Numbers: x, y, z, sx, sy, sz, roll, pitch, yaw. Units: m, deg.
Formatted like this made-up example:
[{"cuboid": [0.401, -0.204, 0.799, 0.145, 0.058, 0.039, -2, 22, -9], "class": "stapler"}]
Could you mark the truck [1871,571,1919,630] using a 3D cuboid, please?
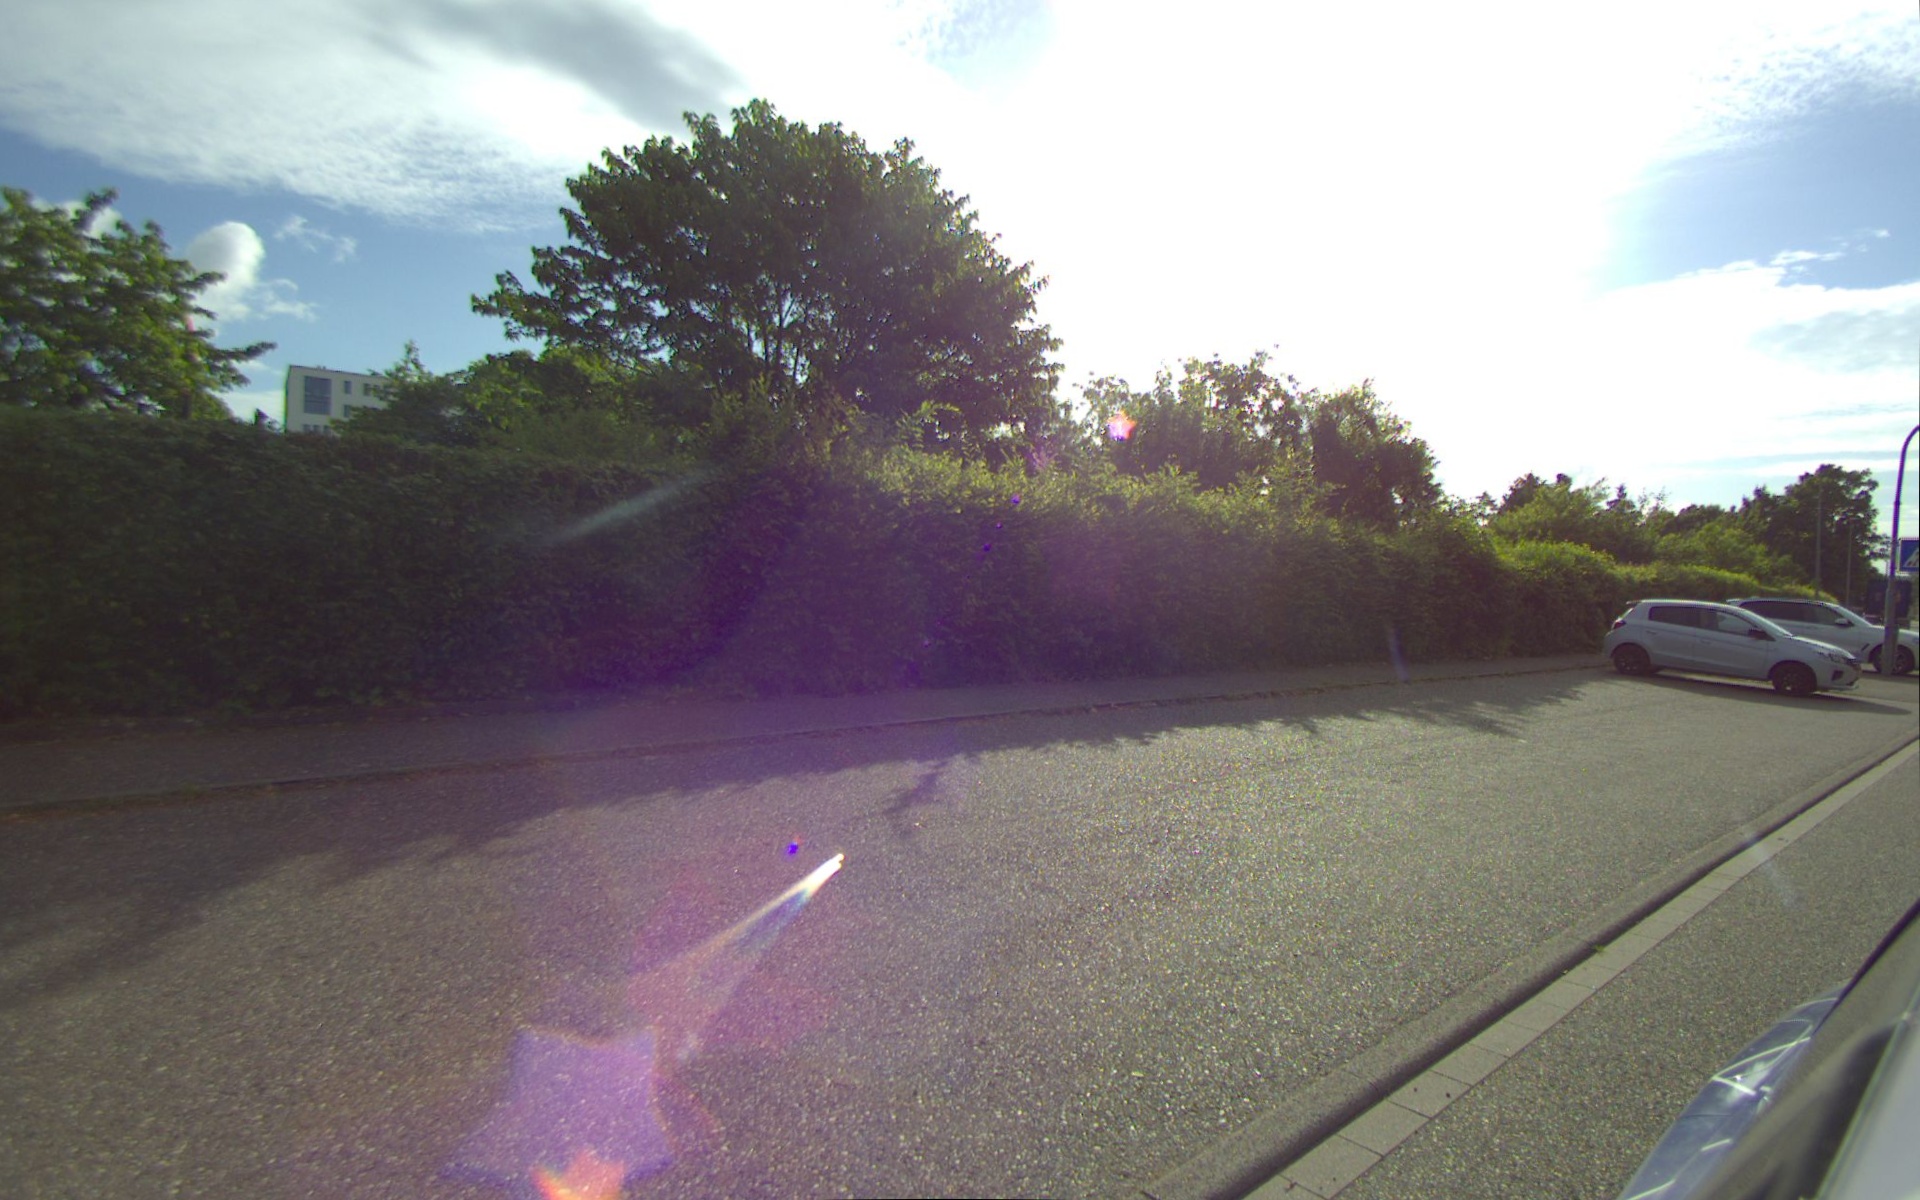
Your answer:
[{"cuboid": [69.872, 0.033, 75.251, 2.594, 4.005, 6.191, 7, 4, 40], "class": "truck"}]

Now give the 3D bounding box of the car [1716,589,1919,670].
[{"cuboid": [22.286, 0.705, 25.708, 1.732, 1.720, 4.599, 0, 3, -40], "class": "car"}]

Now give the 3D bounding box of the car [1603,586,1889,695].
[{"cuboid": [14.408, 0.670, 18.716, 1.663, 1.508, 3.866, 2, 4, -42], "class": "car"}]

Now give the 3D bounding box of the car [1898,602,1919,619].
[{"cuboid": [101.523, 1.127, 108.071, 1.746, 1.589, 3.804, 5, 3, 41], "class": "car"}]
